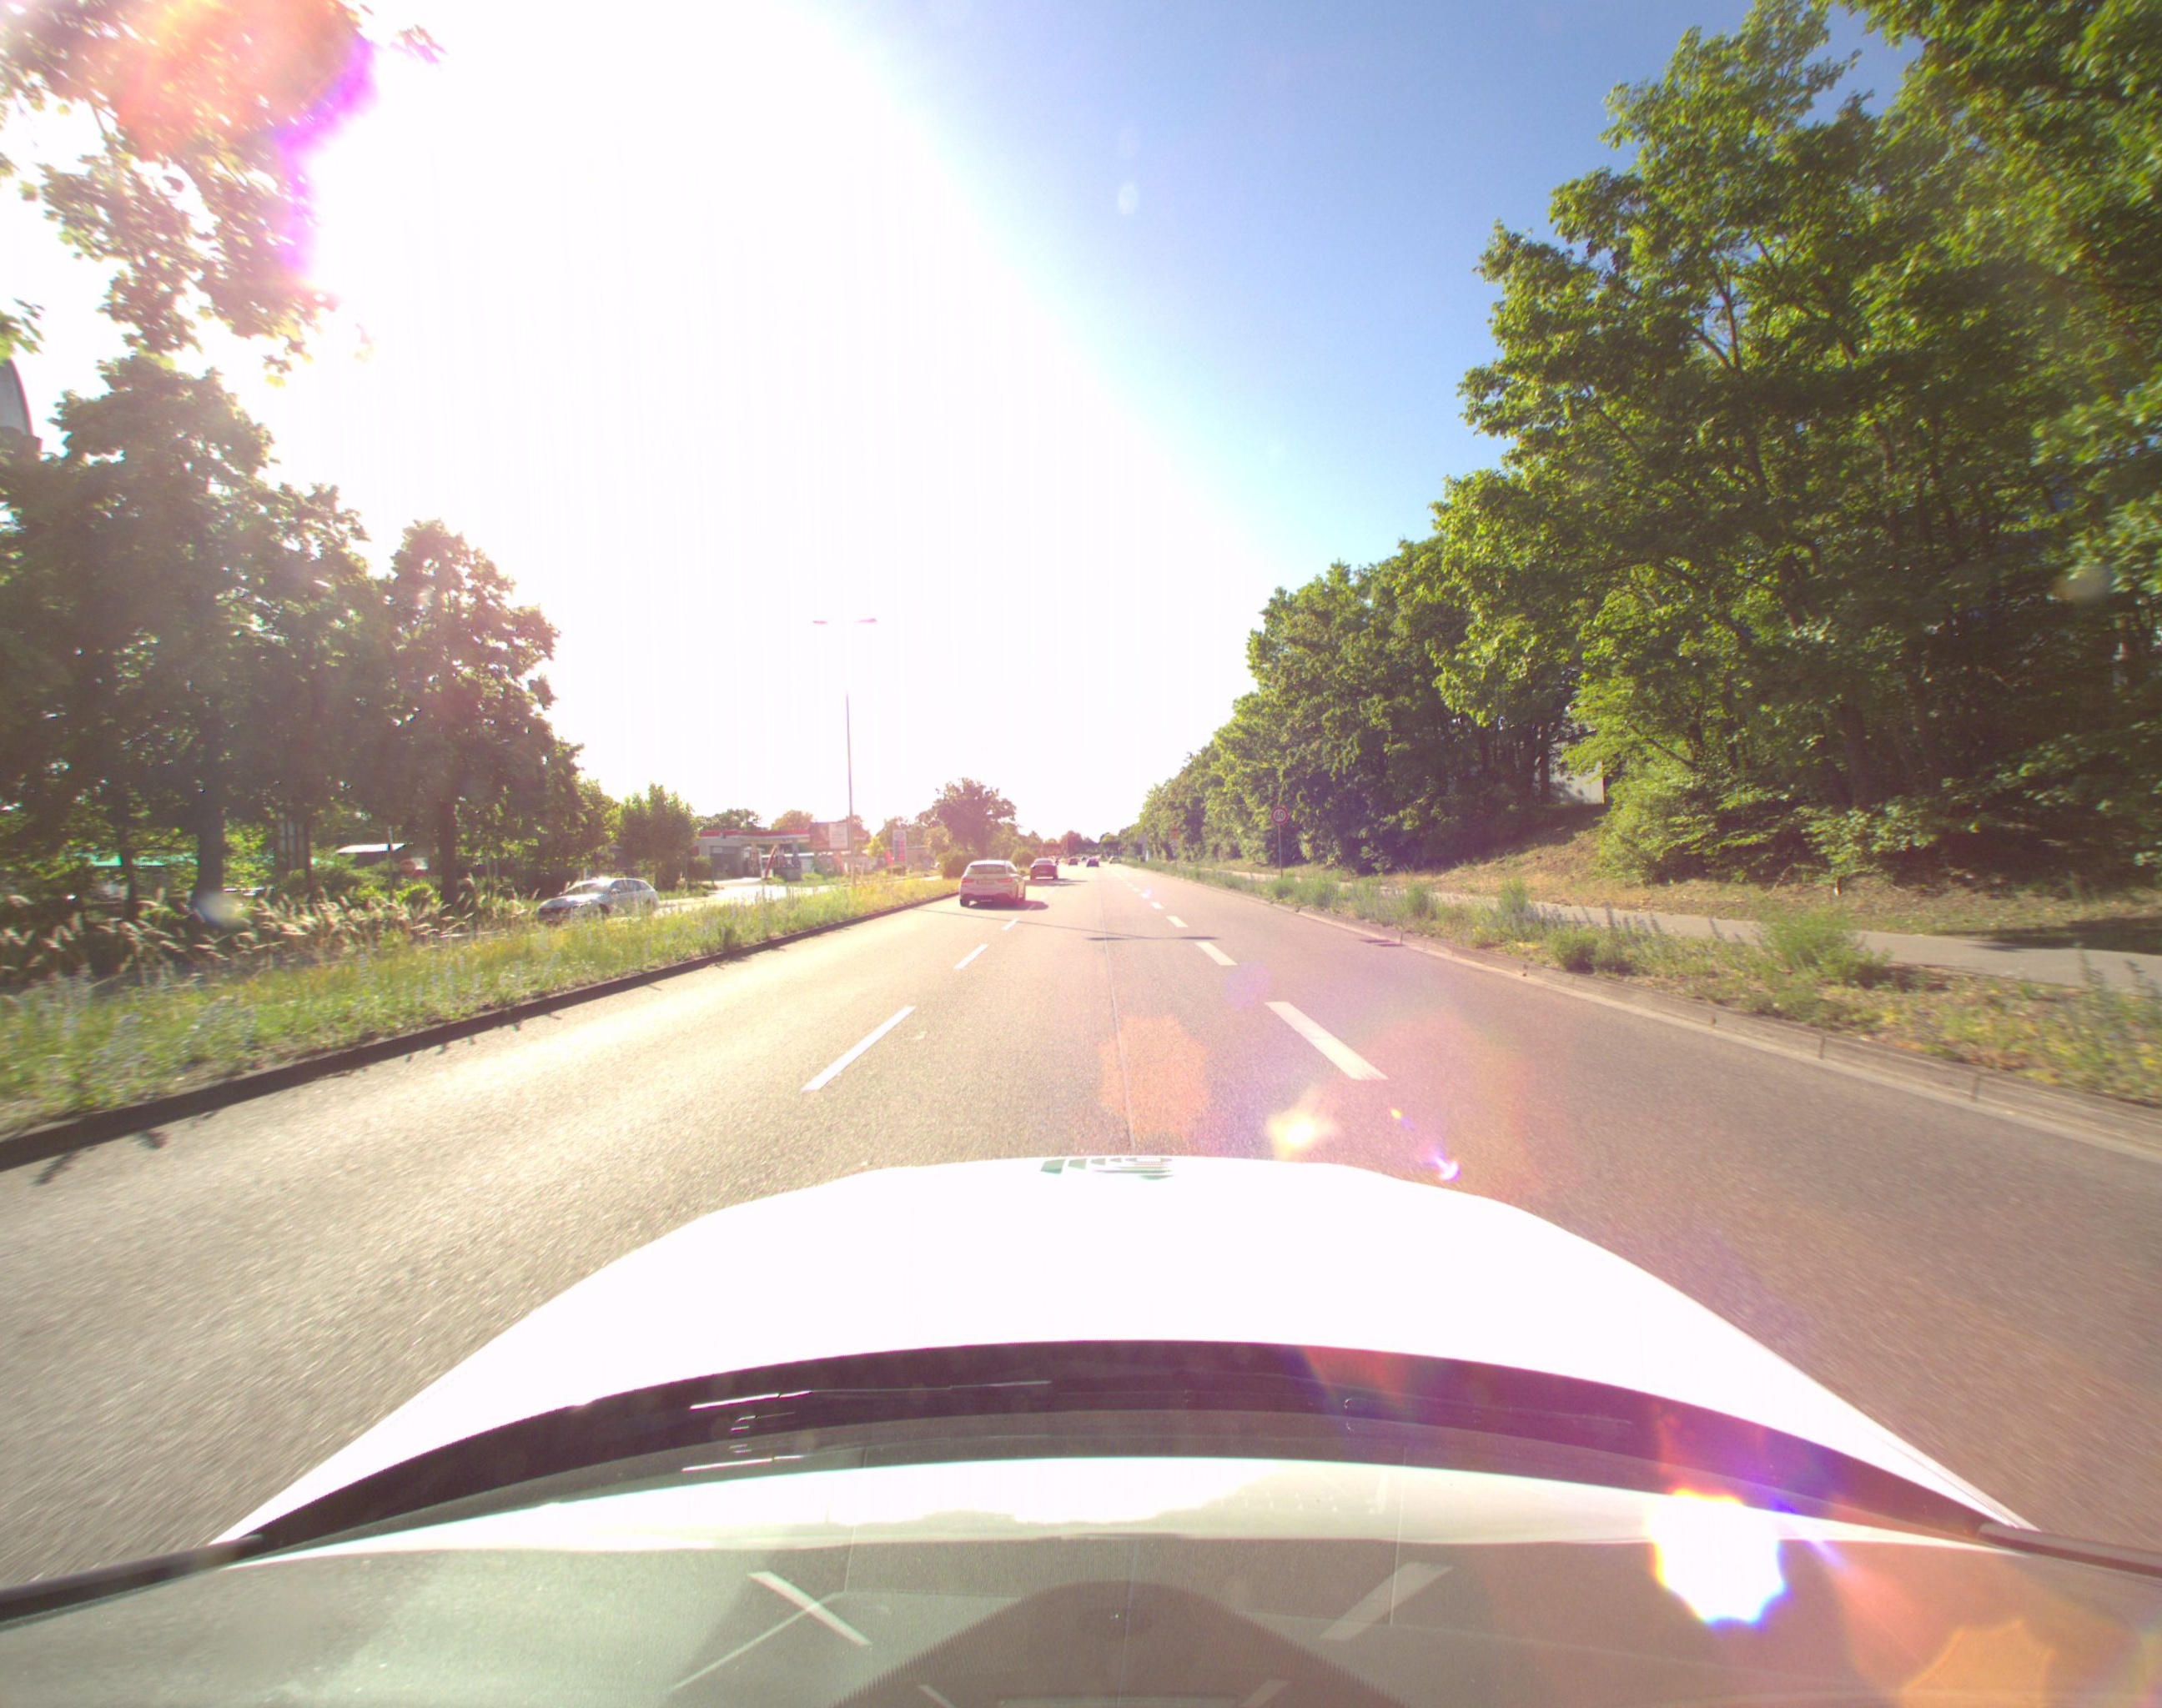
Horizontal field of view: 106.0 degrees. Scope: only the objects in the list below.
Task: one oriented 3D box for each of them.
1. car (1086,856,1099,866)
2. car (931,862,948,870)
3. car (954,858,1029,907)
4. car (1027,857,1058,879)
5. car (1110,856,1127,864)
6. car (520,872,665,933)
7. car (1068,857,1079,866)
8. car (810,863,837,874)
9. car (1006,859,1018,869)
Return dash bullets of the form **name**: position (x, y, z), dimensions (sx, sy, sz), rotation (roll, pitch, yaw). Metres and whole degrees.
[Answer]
- **car**: position (1.645, 1.030, 121.377), dimensions (1.855, 1.499, 4.336), rotation (-2, 0, 1)
- **car**: position (-32.948, 2.792, 189.572), dimensions (1.938, 1.783, 4.037), rotation (-1, 0, -43)
- **car**: position (-2.853, 0.877, 27.036), dimensions (1.855, 1.455, 4.549), rotation (0, 0, 2)
- **car**: position (-2.624, 0.945, 56.961), dimensions (1.855, 1.455, 4.547), rotation (-2, 0, 1)
- **car**: position (7.924, 1.260, 172.386), dimensions (3.418, 1.396, 1.450), rotation (-2, 0, 33)
- **car**: position (-15.475, 1.474, 26.125), dimensions (1.749, 1.520, 4.530), rotation (-4, 0, 1)
- **car**: position (-1.413, 1.339, 149.888), dimensions (1.855, 1.565, 4.547), rotation (-2, 0, 1)
- **car**: position (-47.794, 2.732, 151.017), dimensions (4.373, 1.842, 1.998), rotation (-2, 0, -2)
- **car**: position (-13.759, 2.006, 161.764), dimensions (1.733, 1.802, 4.672), rotation (-5, 0, 1)
